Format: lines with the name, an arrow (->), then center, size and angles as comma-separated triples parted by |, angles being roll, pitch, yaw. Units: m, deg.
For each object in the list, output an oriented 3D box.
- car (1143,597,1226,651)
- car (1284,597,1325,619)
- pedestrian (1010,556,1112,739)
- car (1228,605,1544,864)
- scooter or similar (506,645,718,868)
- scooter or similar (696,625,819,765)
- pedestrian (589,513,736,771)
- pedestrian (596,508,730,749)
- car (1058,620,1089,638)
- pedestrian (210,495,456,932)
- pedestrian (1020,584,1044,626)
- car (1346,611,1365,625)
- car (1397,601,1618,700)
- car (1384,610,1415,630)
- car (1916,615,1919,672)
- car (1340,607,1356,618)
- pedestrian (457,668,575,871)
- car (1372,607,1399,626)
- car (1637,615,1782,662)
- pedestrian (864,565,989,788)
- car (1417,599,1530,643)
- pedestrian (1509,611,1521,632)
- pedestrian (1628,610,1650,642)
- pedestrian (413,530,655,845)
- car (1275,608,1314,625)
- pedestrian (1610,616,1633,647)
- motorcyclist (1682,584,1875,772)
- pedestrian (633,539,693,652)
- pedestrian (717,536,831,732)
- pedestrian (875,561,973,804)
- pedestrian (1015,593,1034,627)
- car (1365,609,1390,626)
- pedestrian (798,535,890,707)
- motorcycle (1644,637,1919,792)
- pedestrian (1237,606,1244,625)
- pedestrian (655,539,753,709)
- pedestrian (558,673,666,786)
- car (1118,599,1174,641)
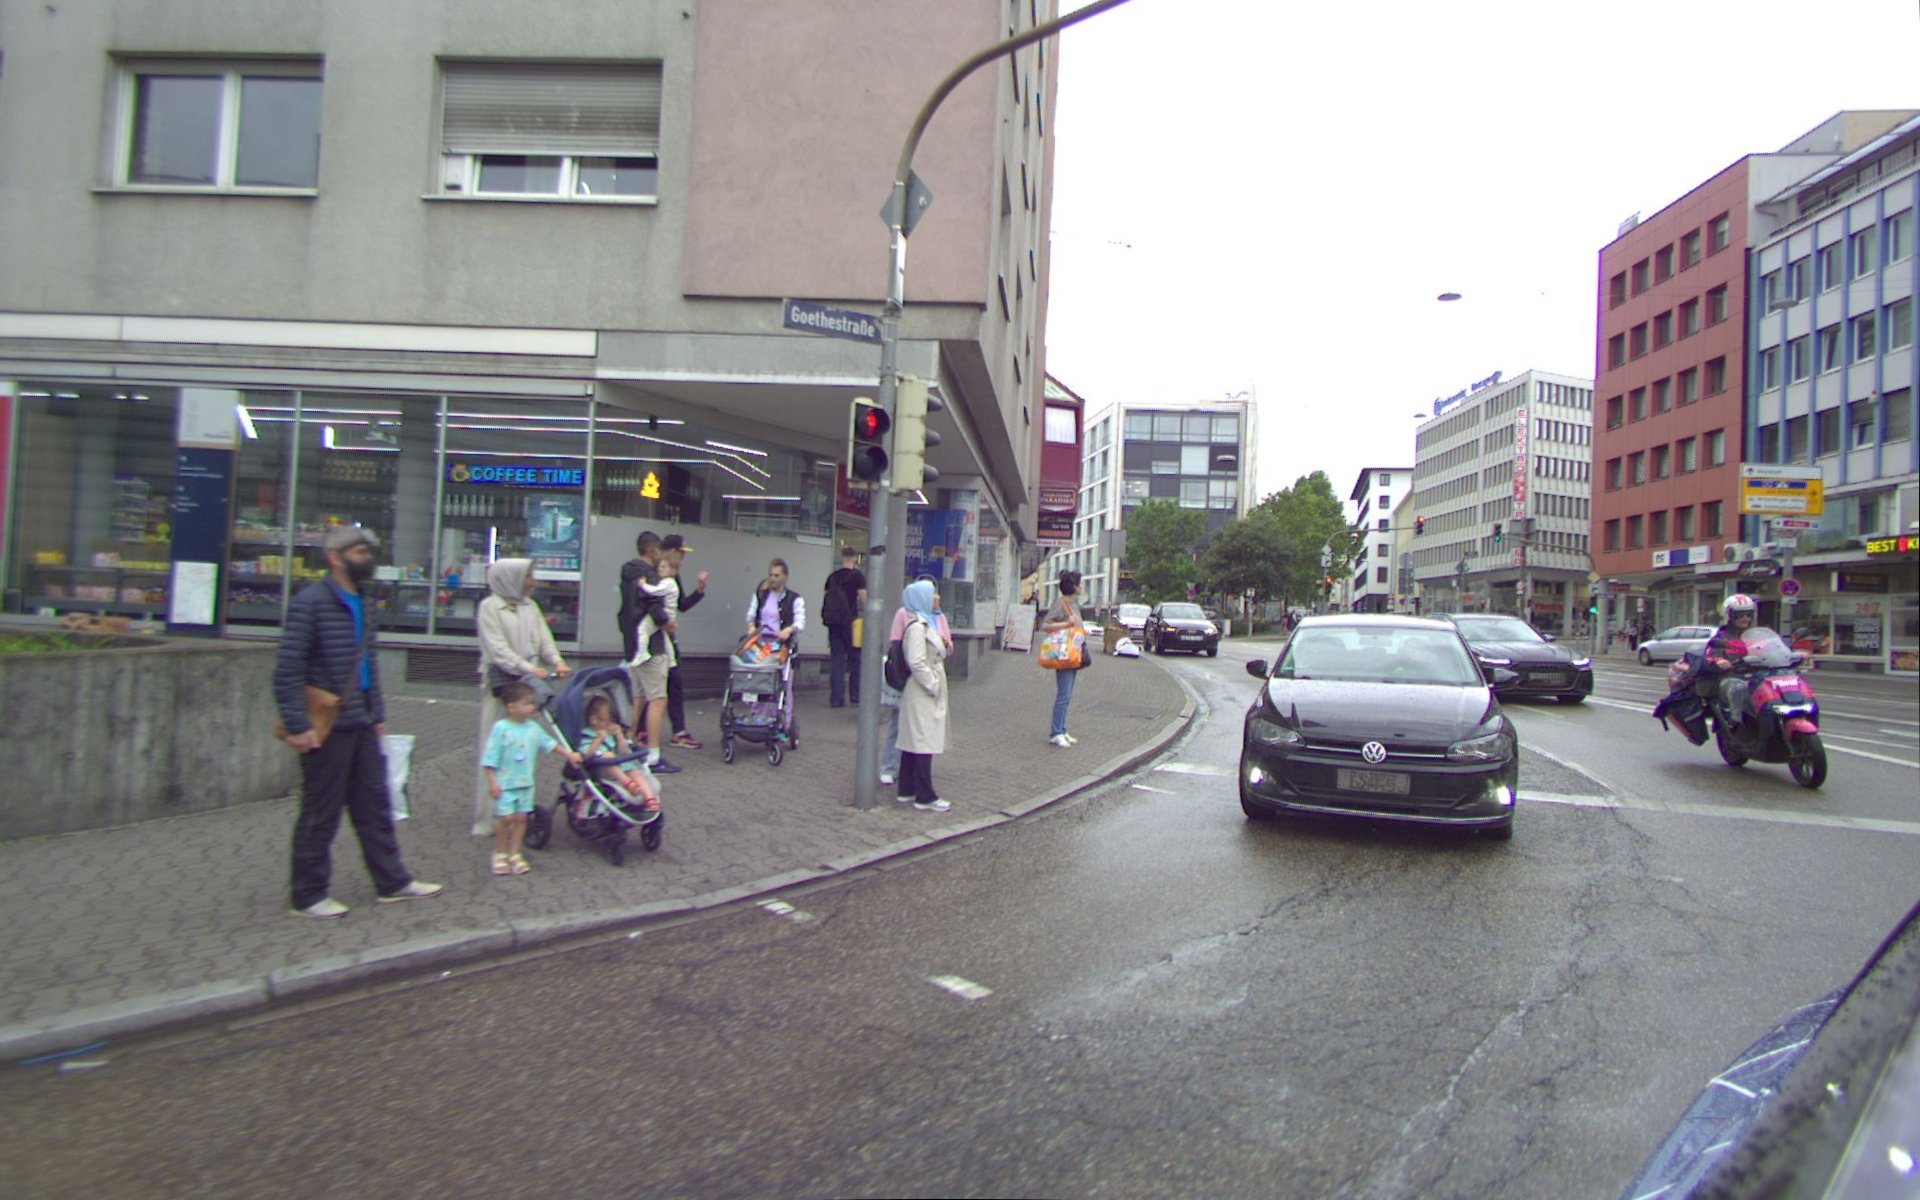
car -> 6.822, 0.721, 31.129 | 1.839, 1.567, 4.099 | 0, -1, 4
car -> 37.956, 0.879, 111.689 | 3.822, 2.294, 1.955 | -1, -1, 43
pedestrian -> 1.008, 0.443, 10.068 | 0.625, 1.713, 0.771 | 4, 2, 39
car -> 3.292, 0.778, 7.811 | 1.725, 1.449, 3.846 | -1, -1, 25
scooter or similar -> -2.058, 0.874, 6.011 | 0.962, 1.123, 0.650 | 4, 0, 23
scooter or similar -> -1.696, 0.775, 8.631 | 0.759, 0.998, 1.048 | 3, 3, 3
pedestrian -> -2.323, 0.298, 7.948 | 0.824, 1.887, 0.657 | 4, 3, 8
pedestrian -> -2.549, 0.222, 8.743 | 0.808, 1.955, 0.729 | 2, 1, 12
car -> 10.023, 2.571, 89.829 | 1.773, 1.518, 4.005 | 0, -2, -9
pedestrian -> -2.991, 0.472, 4.864 | 0.610, 1.889, 0.782 | 5, 4, 20
pedestrian -> 3.206, 0.216, 44.976 | 0.822, 1.787, 0.618 | 5, -3, -4
car -> 51.047, 2.335, 130.641 | 2.001, 1.865, 4.019 | -1, -2, 19
car -> 9.625, 0.808, 18.287 | 1.967, 1.510, 4.723 | 1, 0, 8
car -> 36.828, 1.669, 84.860 | 1.977, 1.652, 4.583 | -1, -2, 19
car -> 28.022, 1.224, 26.362 | 1.838, 1.629, 4.873 | 1, -1, 4
car -> 59.407, 1.979, 154.973 | 1.999, 1.670, 4.403 | 0, -2, 17
pedestrian -> -2.435, 0.906, 5.569 | 0.259, 1.012, 0.467 | 6, 2, 26
car -> 41.401, 1.663, 98.527 | 2.001, 1.772, 4.584 | -1, -2, 19
car -> 25.315, 1.253, 34.422 | 1.760, 1.464, 4.746 | 1, -1, 5
pedestrian -> -0.279, 0.569, 8.125 | 0.586, 1.654, 0.744 | 0, 4, -44
car -> 19.558, 0.819, 38.776 | 1.961, 1.572, 4.428 | 0, -2, -1
pedestrian -> 42.633, 1.647, 77.773 | 0.707, 1.643, 0.718 | 1, -1, 22
pedestrian -> 38.361, 1.476, 57.207 | 0.728, 1.770, 0.734 | 1, -2, -25
pedestrian -> -2.610, 0.483, 6.266 | 1.026, 1.744, 0.832 | 3, 0, 21
car -> 31.832, 1.553, 96.297 | 3.503, 1.579, 1.728 | -1, -1, 21
pedestrian -> 36.189, 1.730, 55.368 | 0.718, 1.651, 0.695 | 1, -2, -23
motorcyclist -> 7.511, 0.677, 9.365 | 1.078, 1.625, 0.948 | 0, -1, 16
pedestrian -> -2.305, -0.031, 7.882 | 0.218, 0.858, 0.437 | -1, -1, 24
pedestrian -> -1.735, 0.293, 9.491 | 0.825, 1.743, 0.615 | 3, 2, 12
pedestrian -> -0.252, 0.568, 7.548 | 0.531, 1.656, 0.838 | 5, 3, 3
pedestrian -> 3.357, 0.507, 52.554 | 0.746, 1.745, 0.747 | -1, -2, 24
car -> 43.335, 1.852, 105.080 | 1.907, 1.693, 4.420 | 0, -2, 17
pedestrian -> -1.323, 0.235, 11.600 | 0.829, 1.890, 0.661 | -1, -1, 23
motorcycle -> 7.508, 0.969, 9.390 | 1.295, 1.150, 2.174 | 1, 0, 16
pedestrian -> 27.731, 1.494, 100.005 | 0.585, 1.838, 0.699 | -1, -3, 20
pedestrian -> -2.663, 0.224, 10.594 | 0.607, 1.656, 0.837 | 5, 3, 8
pedestrian -> -2.049, 0.747, 5.980 | 0.368, 0.578, 0.455 | 3, 0, 23
car -> 7.541, 0.848, 41.307 | 1.966, 1.604, 4.094 | 0, -2, 7
